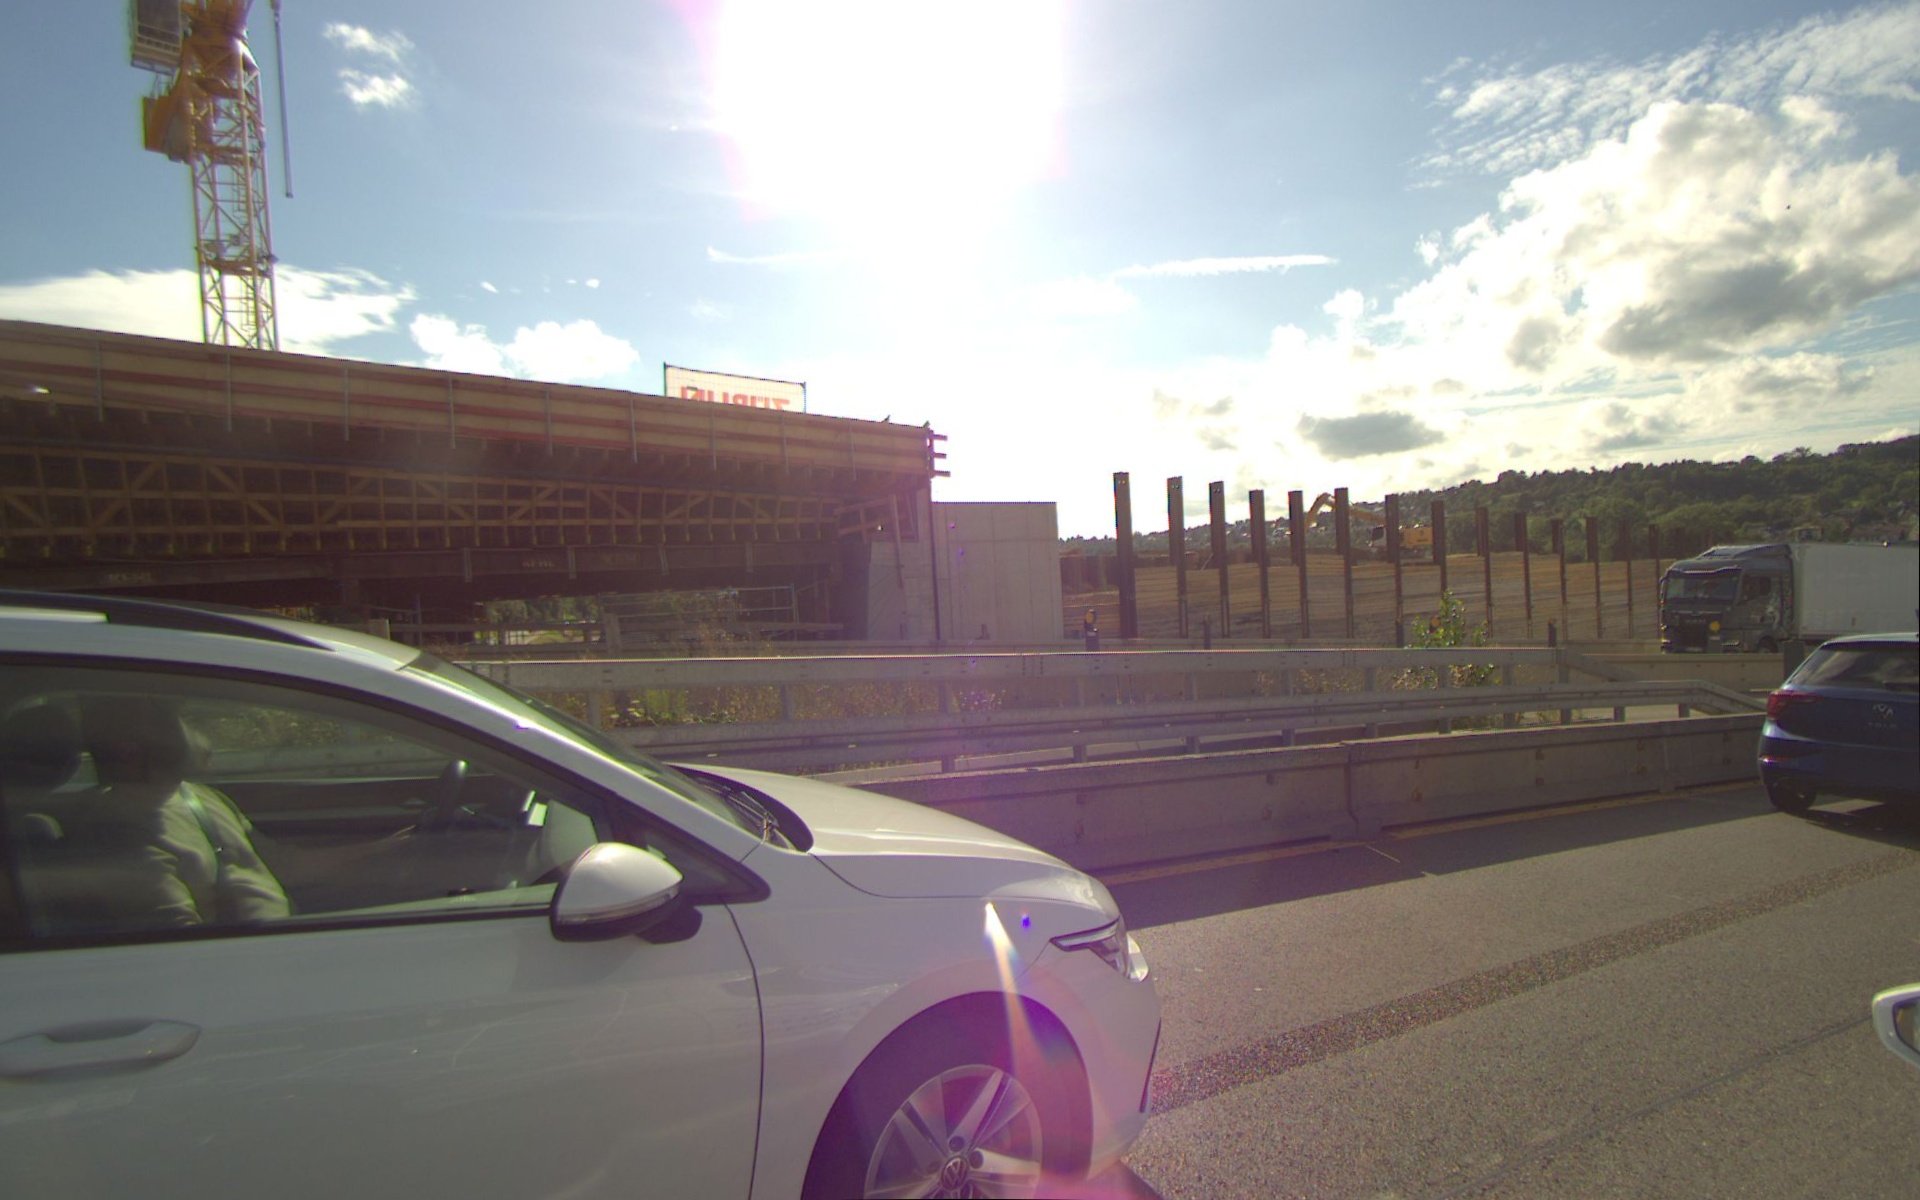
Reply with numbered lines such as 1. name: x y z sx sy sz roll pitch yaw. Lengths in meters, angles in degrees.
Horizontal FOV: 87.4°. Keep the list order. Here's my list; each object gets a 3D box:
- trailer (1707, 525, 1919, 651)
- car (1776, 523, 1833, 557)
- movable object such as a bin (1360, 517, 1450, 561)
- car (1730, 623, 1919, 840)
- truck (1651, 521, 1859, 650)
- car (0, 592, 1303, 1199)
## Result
1. trailer: 32.198 -0.211 35.414 13.604 3.892 2.815 2 -1 -23
2. car: 68.626 -4.834 81.620 5.263 2.167 1.984 2 -6 -32
3. movable object such as a bin: 38.668 -5.245 87.404 4.441 3.314 5.739 2 -1 -20
4. car: 8.054 0.963 7.929 3.951 1.440 1.715 2 -2 -29
5. truck: 25.940 -0.379 32.797 5.932 3.838 2.771 2 0 -23
6. car: -1.488 0.775 2.106 4.466 1.510 1.761 2 -3 -32
